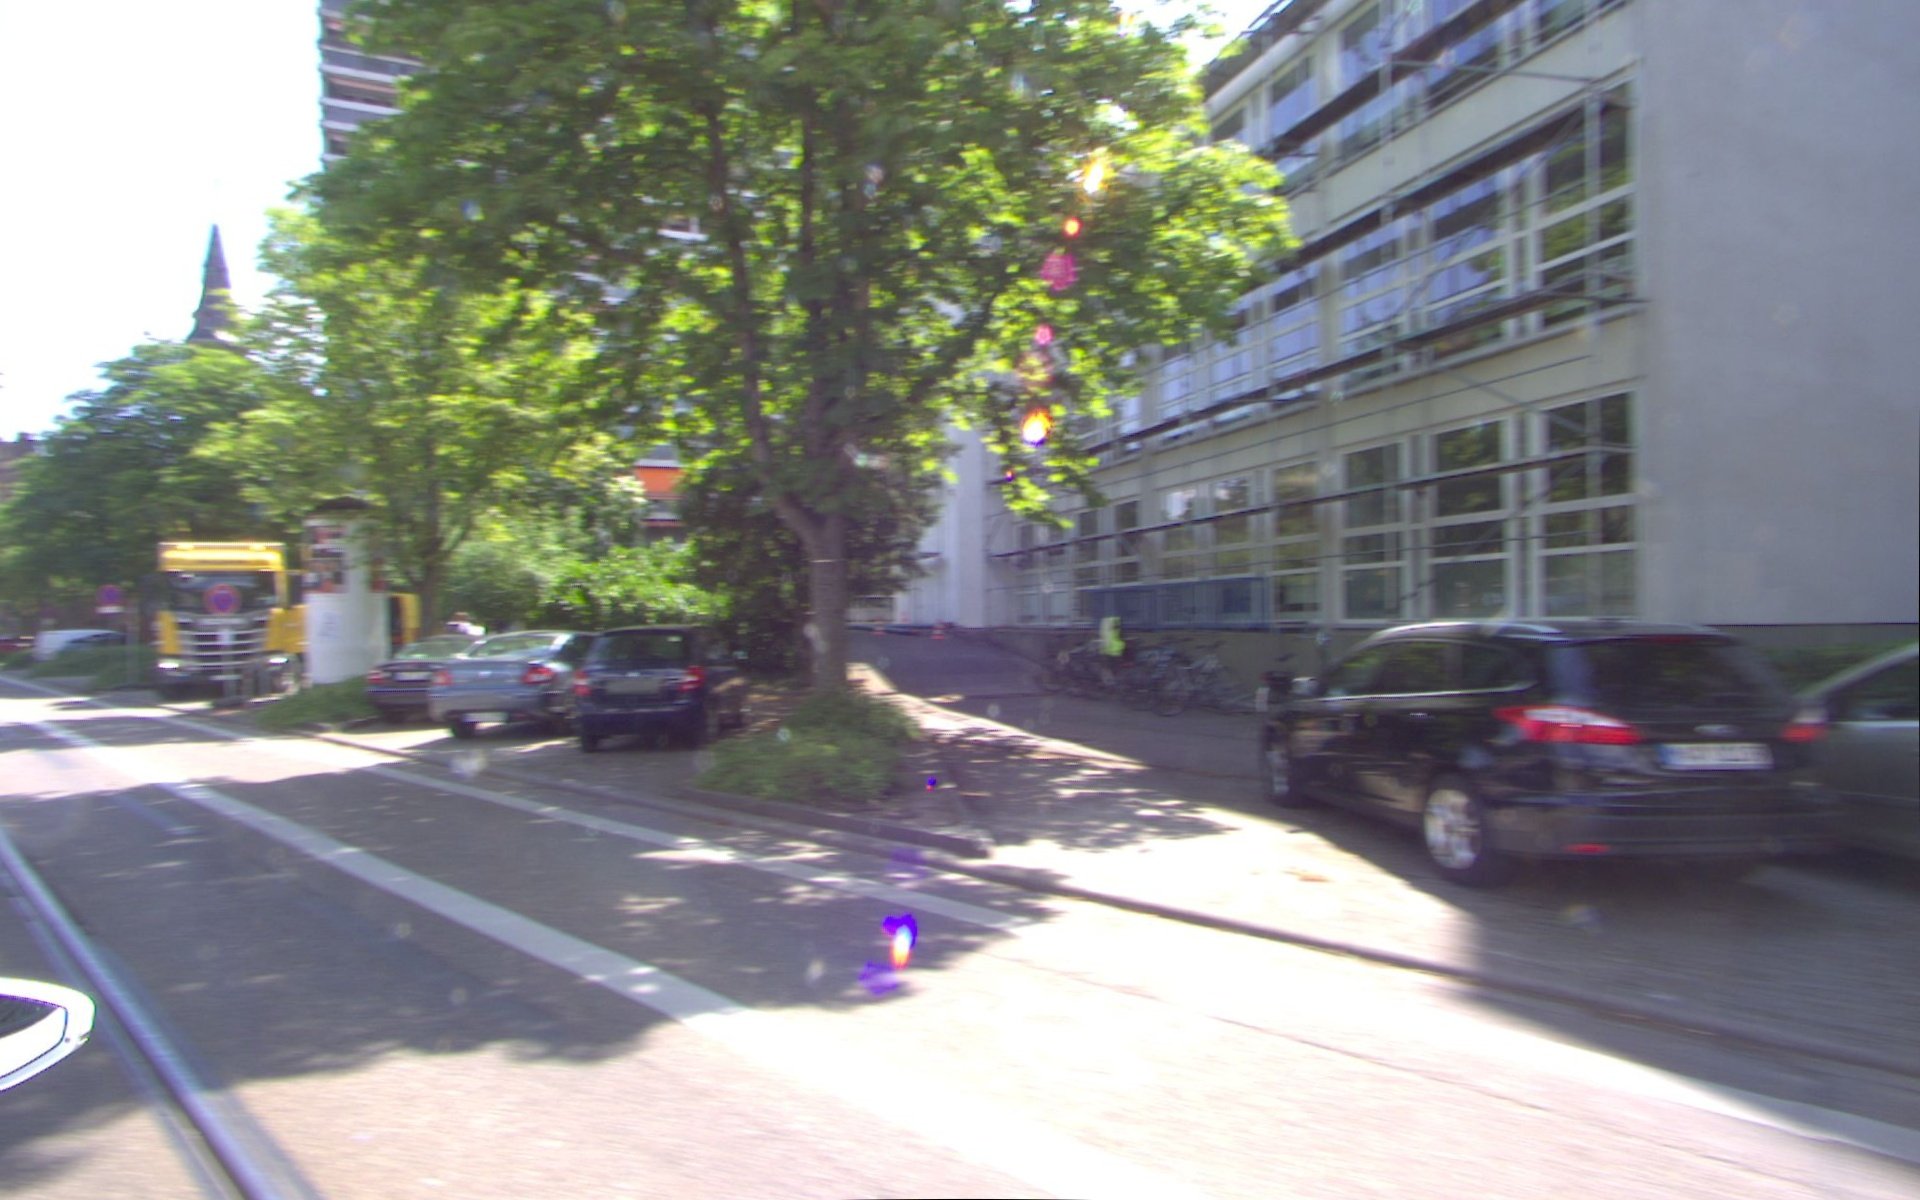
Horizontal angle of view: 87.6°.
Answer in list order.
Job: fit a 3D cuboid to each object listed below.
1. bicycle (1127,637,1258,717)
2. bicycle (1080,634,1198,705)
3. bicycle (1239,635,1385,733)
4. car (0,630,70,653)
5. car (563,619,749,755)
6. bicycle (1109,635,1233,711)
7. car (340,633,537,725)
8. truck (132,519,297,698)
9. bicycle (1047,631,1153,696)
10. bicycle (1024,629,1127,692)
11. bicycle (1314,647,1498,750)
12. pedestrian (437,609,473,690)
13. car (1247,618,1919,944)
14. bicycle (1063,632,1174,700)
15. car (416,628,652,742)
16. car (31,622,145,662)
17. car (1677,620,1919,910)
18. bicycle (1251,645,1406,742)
[{"bbox_3d":[3.541,1.153,15.232,1.909,1.145,0.567,0,-1,-17],"label":"bicycle"},{"bbox_3d":[3.027,1.152,16.931,1.909,1.145,0.567,0,-1,-17],"label":"bicycle"},{"bbox_3d":[4.784,1.118,13.623,1.909,1.253,0.567,0,-1,-17],"label":"bicycle"},{"bbox_3d":[-65.191,2.896,69.988,1.965,1.505,3.993,-1,-1,20],"label":"car"},{"bbox_3d":[-3.825,1.035,13.172,1.618,1.536,3.576,0,-1,-5],"label":"car"},{"bbox_3d":[3.370,1.143,16.006,1.909,1.145,0.567,0,-1,-17],"label":"bicycle"},{"bbox_3d":[-8.895,1.279,17.472,1.598,1.390,4.023,0,-1,-5],"label":"car"},{"bbox_3d":[-20.159,0.328,27.621,2.713,4.058,9.692,-1,-1,-31],"label":"truck"},{"bbox_3d":[2.571,1.146,18.379,1.895,1.145,0.567,0,-1,-21],"label":"bicycle"},{"bbox_3d":[2.202,1.137,19.065,1.895,1.145,0.567,0,-1,-21],"label":"bicycle"},{"bbox_3d":[5.396,1.156,12.102,2.195,1.145,0.567,0,-1,-17],"label":"bicycle"},{"bbox_3d":[-12.061,1.174,23.927,0.706,1.899,0.574,0,-1,-35],"label":"pedestrian"},{"bbox_3d":[3.551,0.892,6.775,1.720,1.488,4.198,0,-1,-5],"label":"car"},{"bbox_3d":[2.792,1.143,17.640,1.894,1.145,0.567,0,-1,-17],"label":"bicycle"},{"bbox_3d":[-6.198,1.167,15.115,1.784,1.481,4.024,0,-1,1],"label":"car"},{"bbox_3d":[-41.749,1.996,48.063,1.799,1.817,4.001,0,-1,4],"label":"car"},{"bbox_3d":[5.770,0.834,4.959,1.720,1.481,3.541,0,-1,-5],"label":"car"},{"bbox_3d":[4.731,1.172,12.839,1.909,1.145,0.567,0,-1,-17],"label":"bicycle"}]
